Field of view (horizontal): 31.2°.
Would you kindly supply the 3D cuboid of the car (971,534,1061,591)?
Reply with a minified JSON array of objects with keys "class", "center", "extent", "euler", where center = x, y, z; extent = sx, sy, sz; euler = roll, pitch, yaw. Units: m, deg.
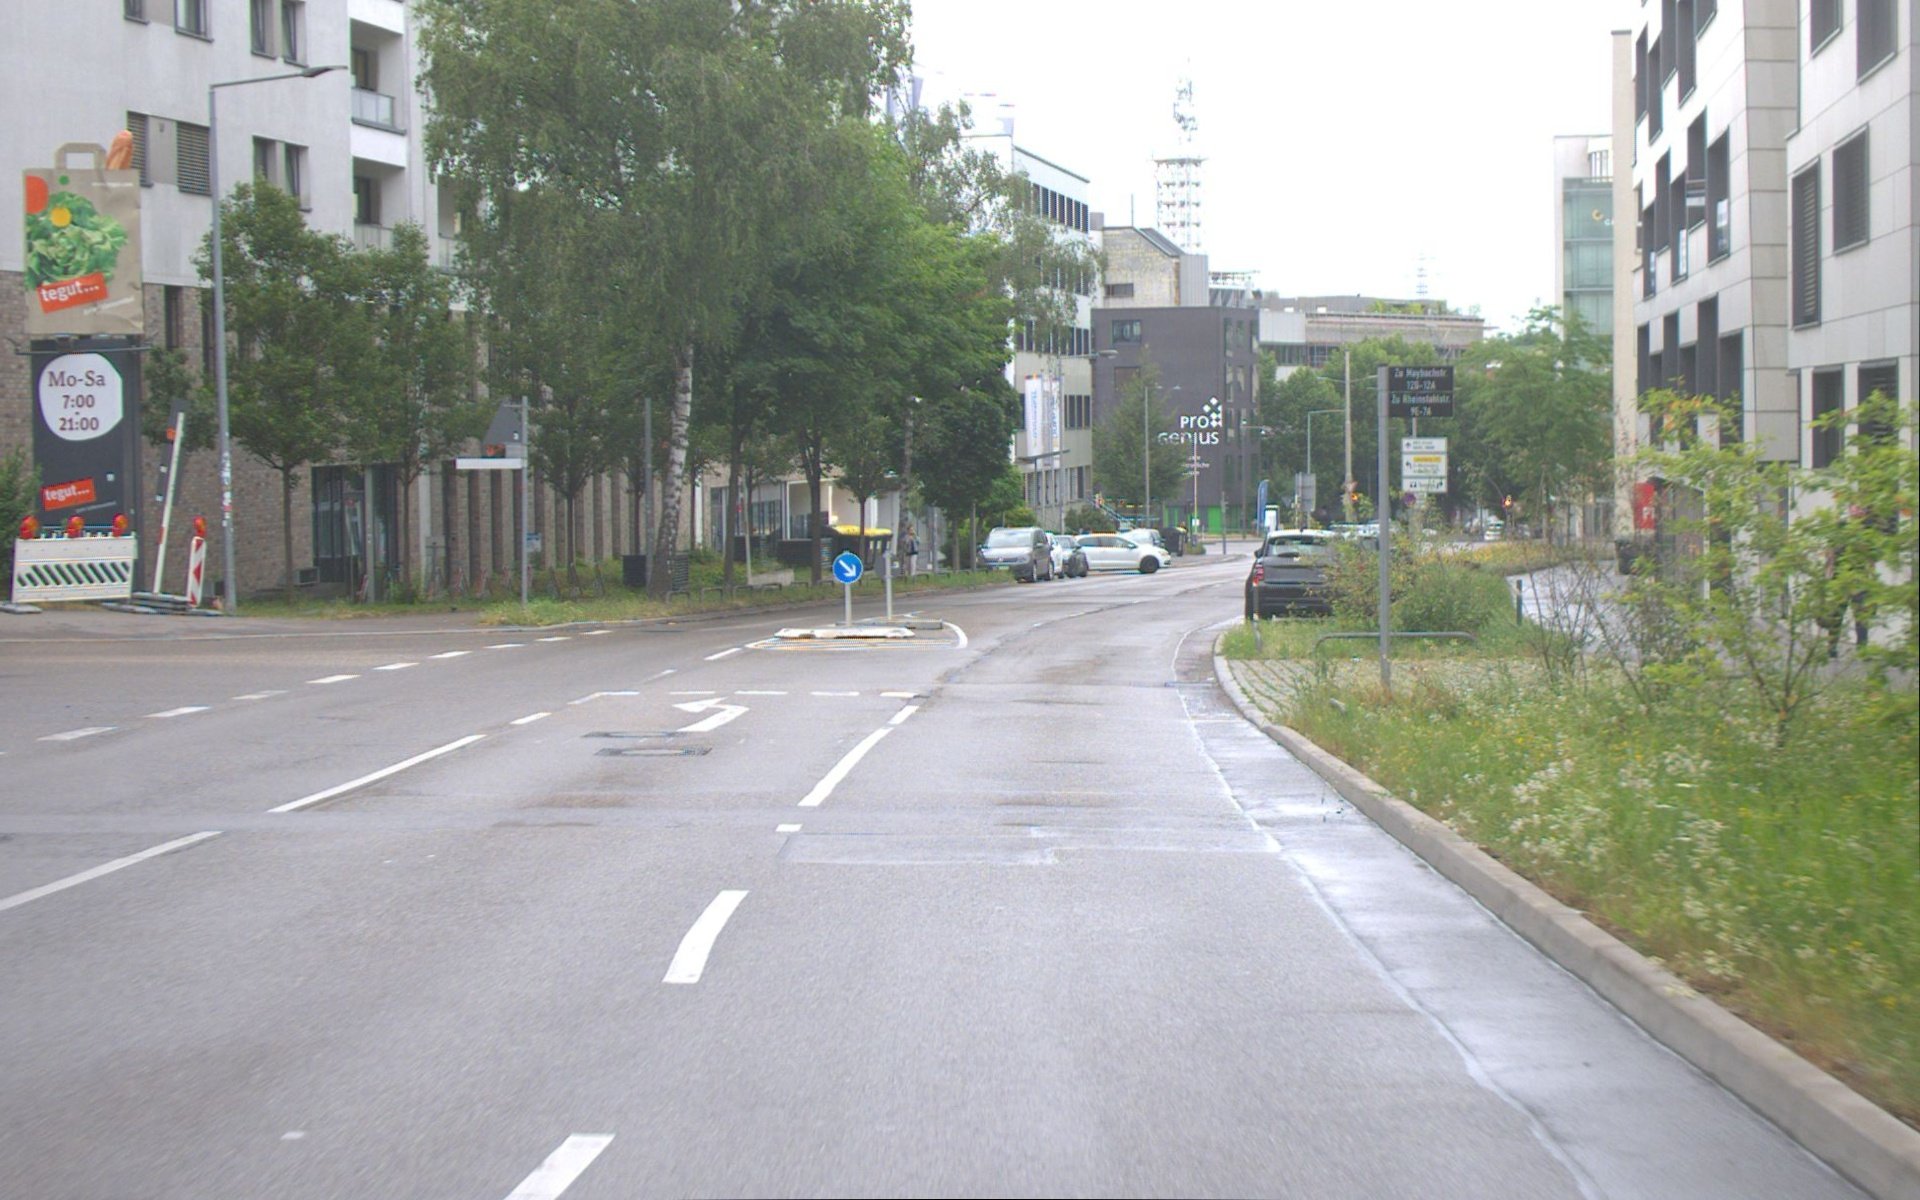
[{"class":"car","center":[1.712,-1.152,102.828],"extent":[2.078,1.603,4.684],"euler":[-1,1,8]}]

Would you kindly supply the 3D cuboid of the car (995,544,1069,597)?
[{"class":"car","center":[2.285,-0.947,108.060],"extent":[1.774,1.595,4.030],"euler":[0,1,9]}]

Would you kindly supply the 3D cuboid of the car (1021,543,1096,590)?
[{"class":"car","center":[3.253,-1.084,112.688],"extent":[1.797,1.511,4.243],"euler":[0,0,11]}]

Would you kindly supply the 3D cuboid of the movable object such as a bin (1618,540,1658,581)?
[{"class":"movable object such as a bin","center":[21.846,-1.267,110.719],"extent":[1.235,1.315,1.191],"euler":[-1,0,12]}]

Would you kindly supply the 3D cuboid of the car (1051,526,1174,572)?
[{"class":"car","center":[5.303,-1.768,119.615],"extent":[3.982,1.571,2.001],"euler":[0,1,-8]}]

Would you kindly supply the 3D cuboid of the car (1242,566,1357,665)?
[{"class":"car","center":[5.522,0.224,55.574],"extent":[1.546,1.473,3.659],"euler":[0,2,10]}]

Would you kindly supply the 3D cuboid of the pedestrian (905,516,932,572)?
[{"class":"pedestrian","center":[-1.237,-1.677,103.395],"extent":[0.708,1.677,0.956],"euler":[0,1,5]}]

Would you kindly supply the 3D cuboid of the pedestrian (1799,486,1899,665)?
[{"class":"pedestrian","center":[9.062,-0.247,35.069],"extent":[0.822,1.790,0.778],"euler":[-1,0,4]}]
